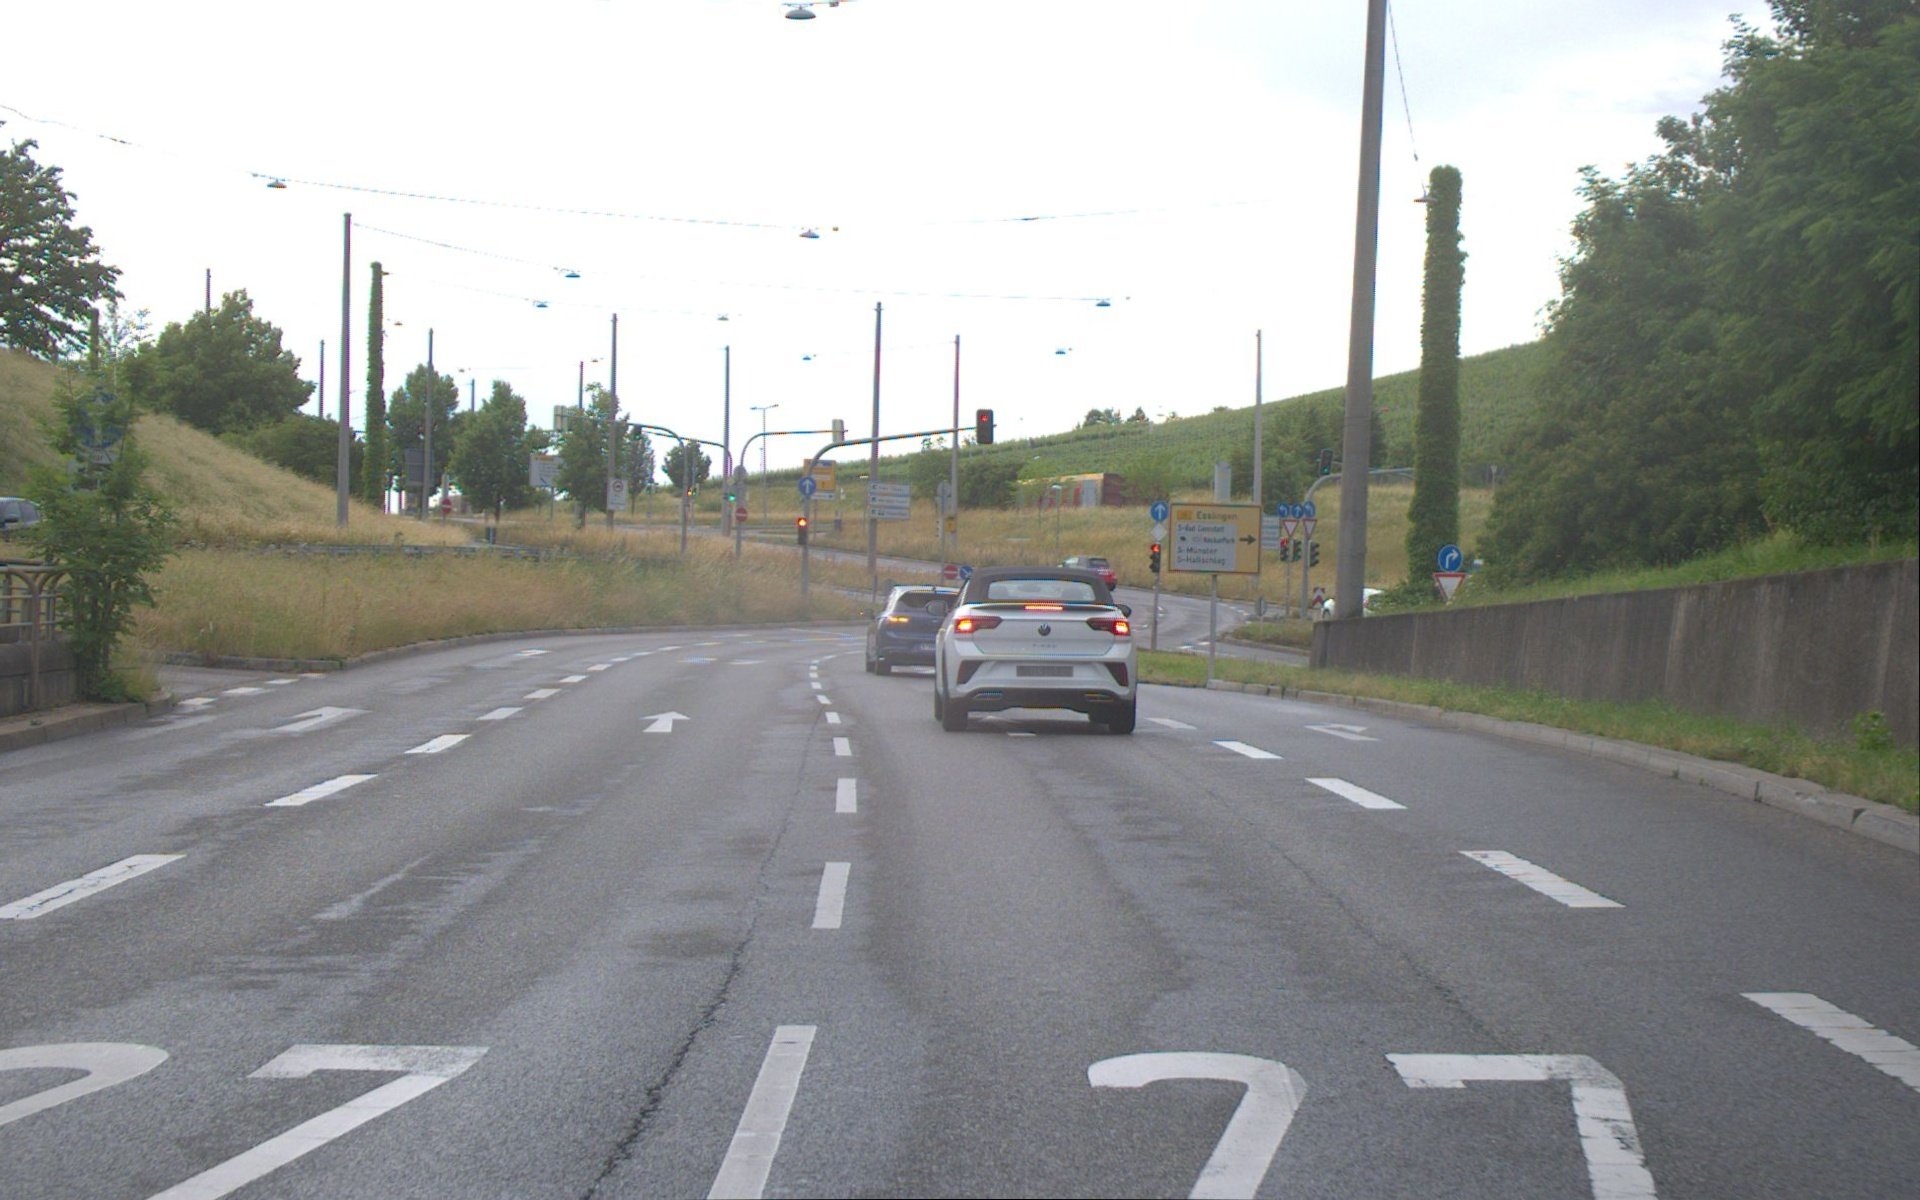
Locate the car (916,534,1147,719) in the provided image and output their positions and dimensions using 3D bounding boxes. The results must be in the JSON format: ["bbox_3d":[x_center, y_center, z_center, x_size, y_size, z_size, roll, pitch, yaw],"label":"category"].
[{"bbox_3d":[0.676,0.237,32.840,1.996,1.573,4.125,3,0,1],"label":"car"}]

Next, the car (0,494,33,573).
[{"bbox_3d":[-20.844,-1.446,71.311,1.993,1.631,4.723,4,0,-2],"label":"car"}]

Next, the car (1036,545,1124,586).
[{"bbox_3d":[5.370,-1.563,154.731,1.993,1.706,4.564,0,2,-27],"label":"car"}]

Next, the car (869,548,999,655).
[{"bbox_3d":[-0.391,0.035,55.883,1.926,1.594,4.061,2,0,1],"label":"car"}]

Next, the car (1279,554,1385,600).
[{"bbox_3d":[14.183,-0.898,131.365,1.993,1.495,4.565,0,4,-24],"label":"car"}]

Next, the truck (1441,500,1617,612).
[{"bbox_3d":[19.680,-1.565,119.190,2.847,3.514,6.237,0,4,-25],"label":"truck"}]
